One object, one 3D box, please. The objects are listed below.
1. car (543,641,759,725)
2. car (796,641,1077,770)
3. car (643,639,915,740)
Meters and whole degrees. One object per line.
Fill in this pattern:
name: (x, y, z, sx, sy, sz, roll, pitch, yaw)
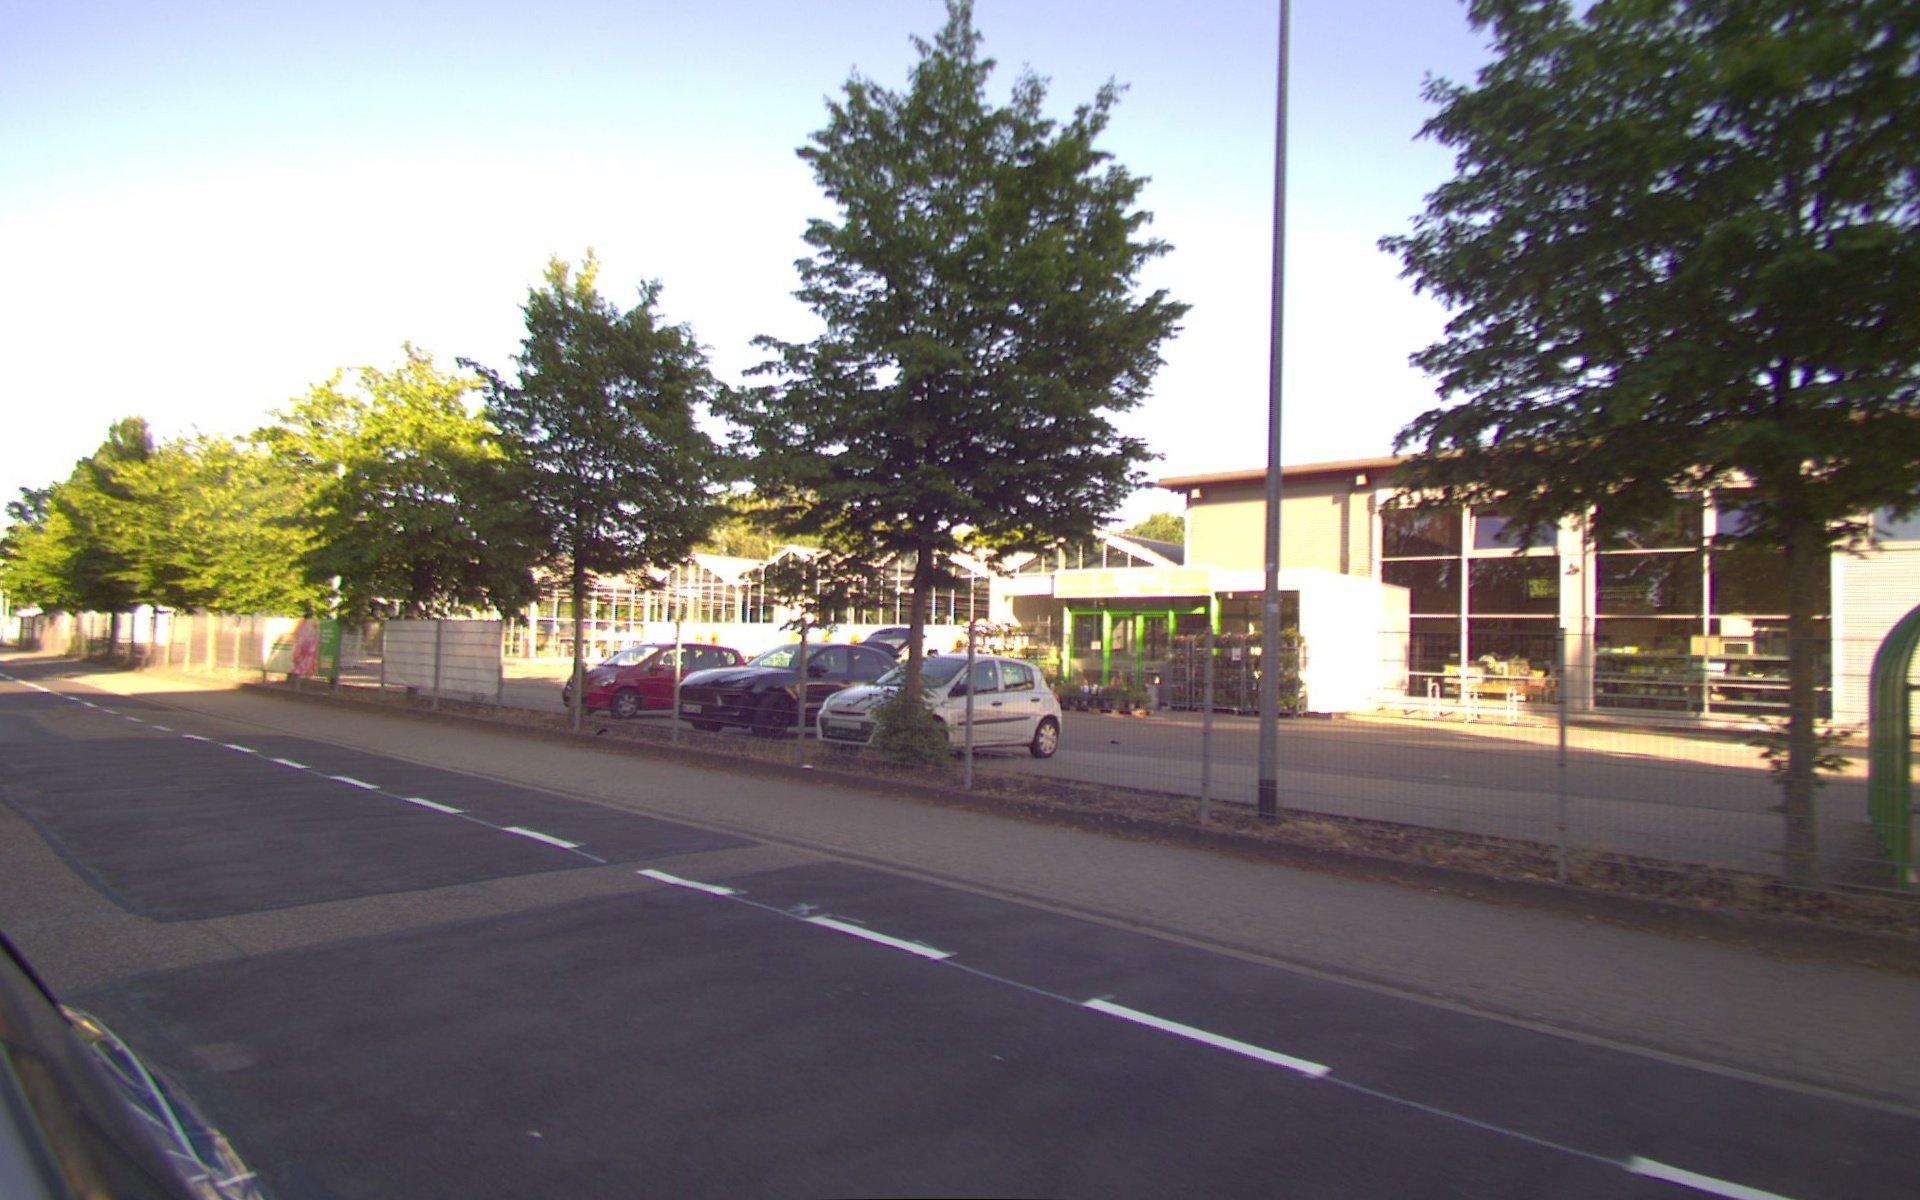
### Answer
car: (-6.082, 1.698, 20.257, 1.804, 1.462, 3.689, -1, -7, 39)
car: (-0.196, 1.482, 14.133, 1.784, 1.523, 3.849, -2, -7, 40)
car: (-2.915, 1.552, 17.082, 2.050, 1.462, 4.144, -1, -7, 39)
